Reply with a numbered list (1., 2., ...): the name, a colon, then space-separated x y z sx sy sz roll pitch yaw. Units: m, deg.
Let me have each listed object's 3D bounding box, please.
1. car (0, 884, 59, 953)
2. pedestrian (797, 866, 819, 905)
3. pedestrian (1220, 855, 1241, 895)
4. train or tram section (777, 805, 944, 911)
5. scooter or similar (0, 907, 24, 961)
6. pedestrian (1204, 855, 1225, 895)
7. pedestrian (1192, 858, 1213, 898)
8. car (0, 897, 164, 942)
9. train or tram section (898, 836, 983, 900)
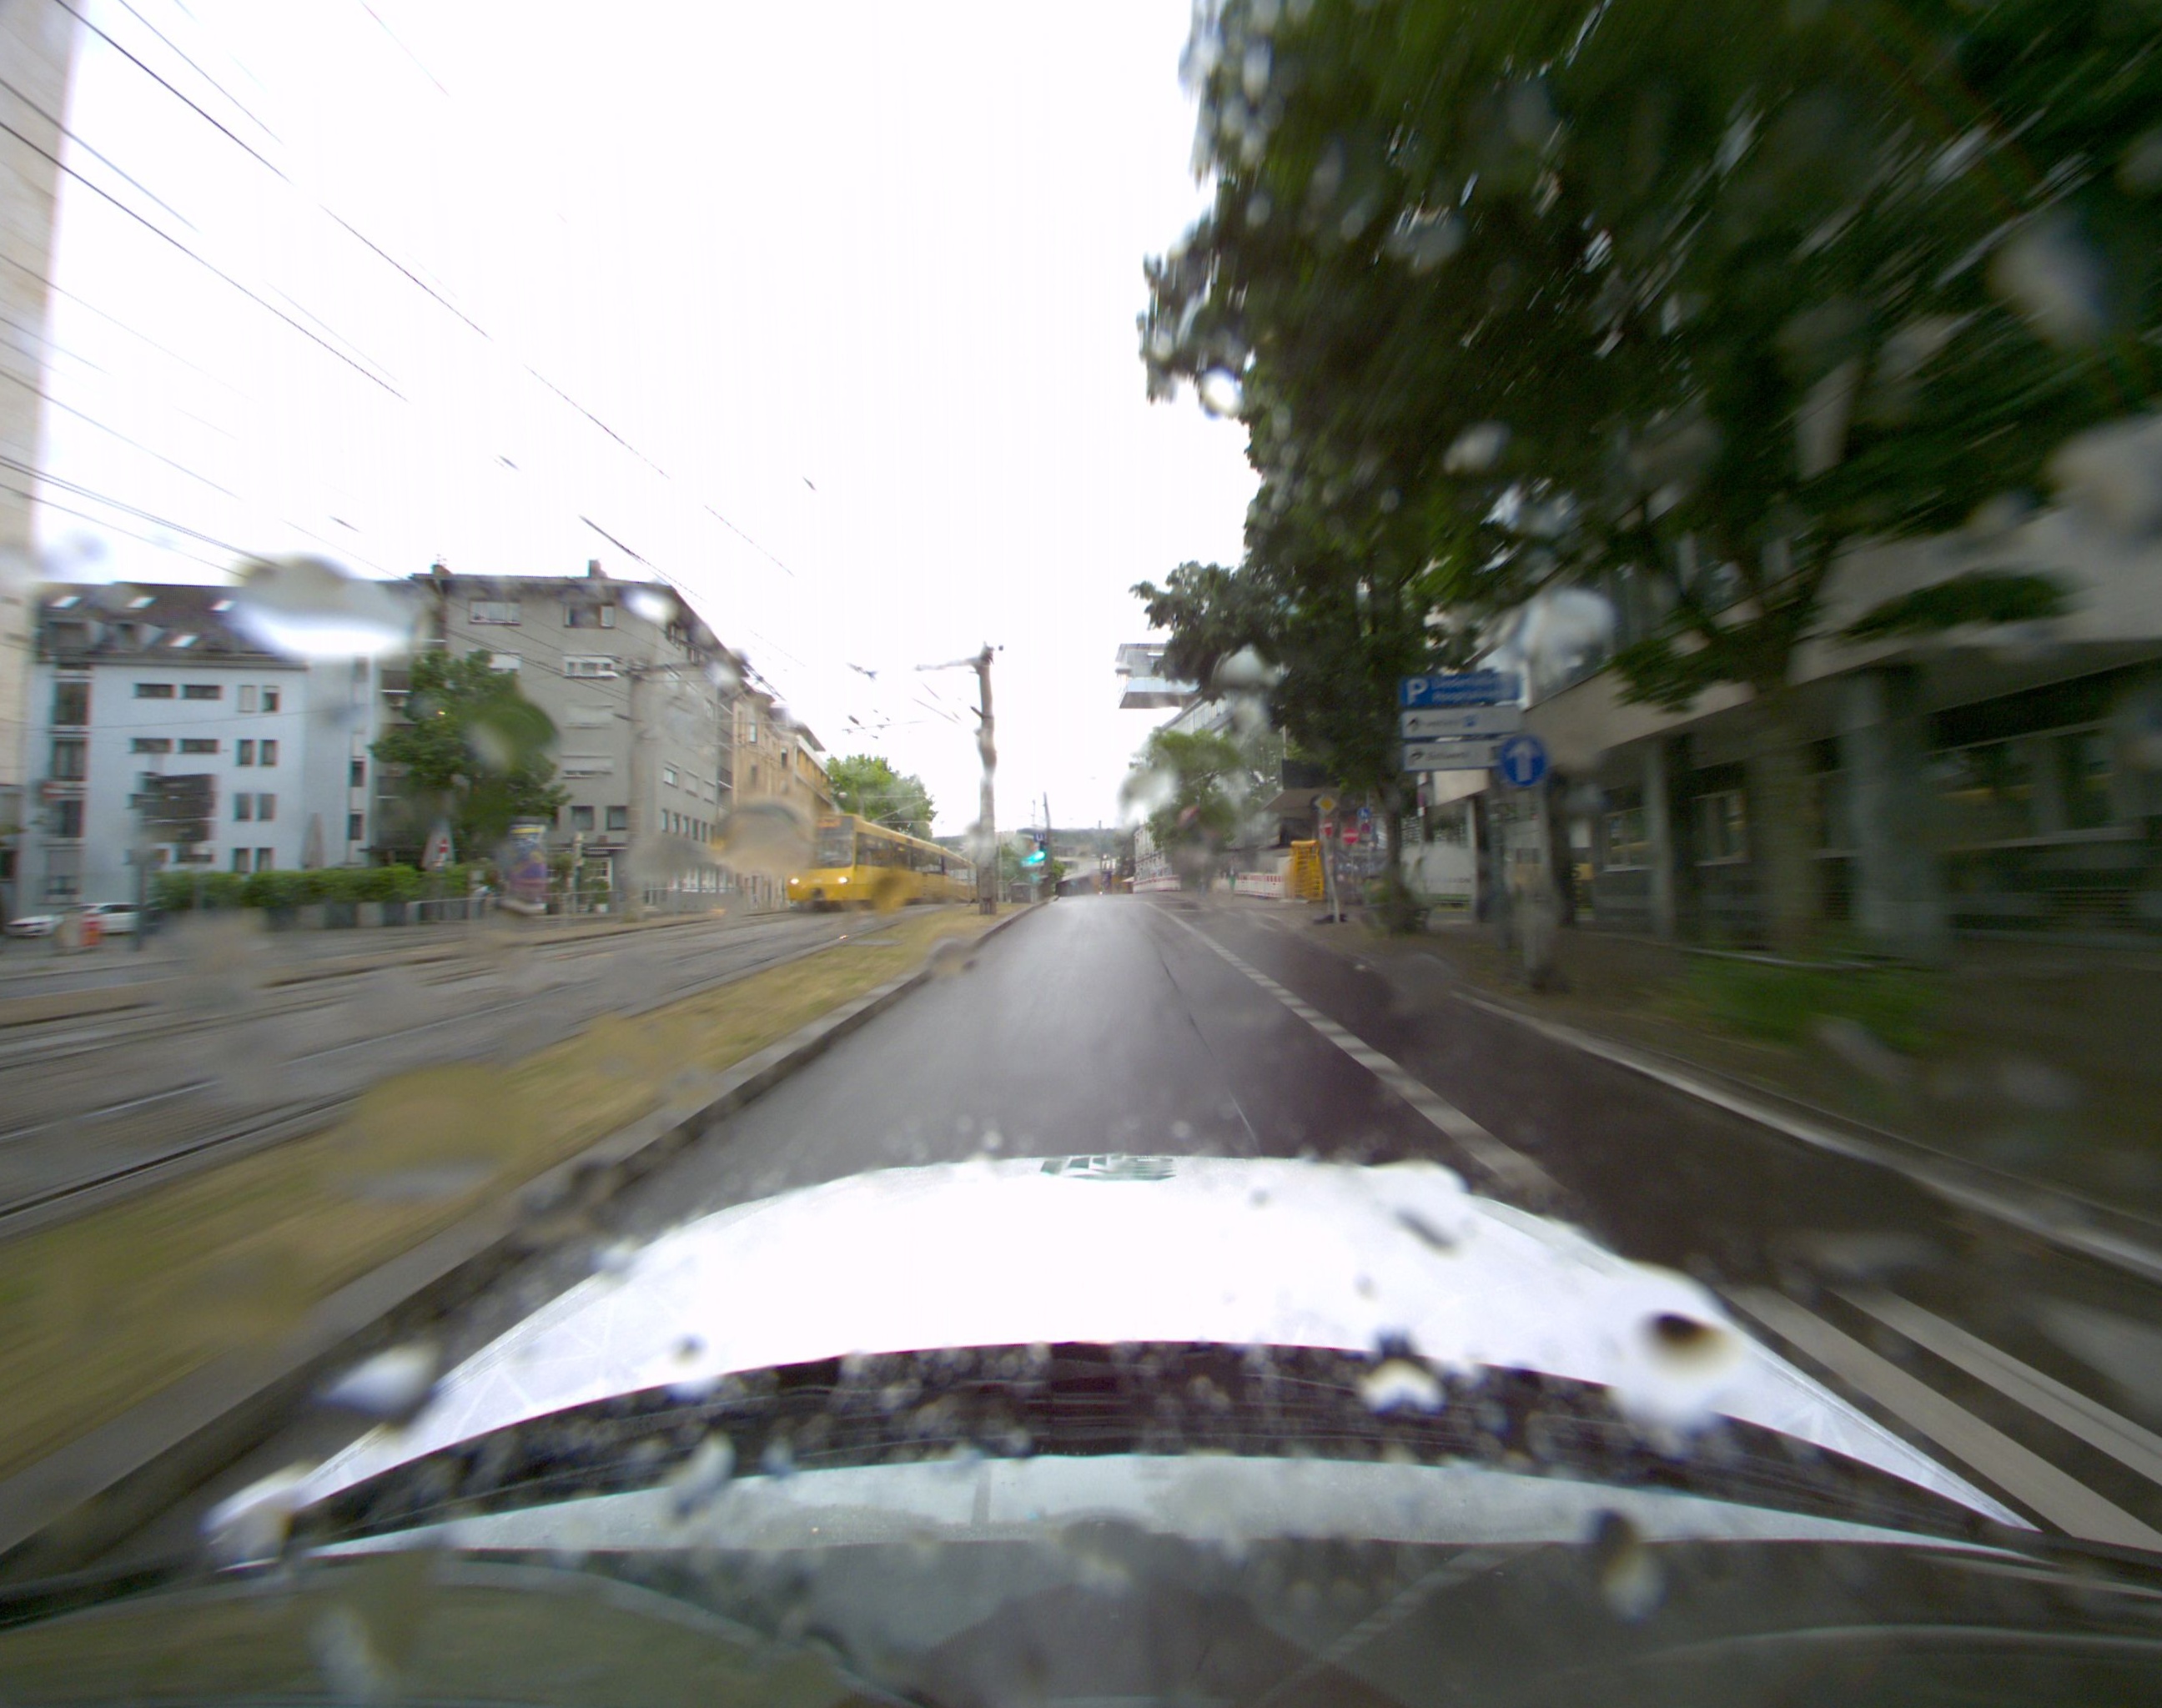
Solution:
1. car: -30.025 1.750 21.523 2.006 1.829 5.183 0 -1 -30
2. pedestrian: -12.821 1.473 38.228 0.730 1.790 0.696 -2 -1 0
3. pedestrian: 6.891 0.972 37.462 0.698 1.785 1.066 -1 -1 -2
4. train or tram section: -9.370 0.481 38.185 2.737 3.697 18.962 -1 -2 0
5. scooter or similar: -24.109 1.756 17.566 1.495 1.146 0.560 0 -1 -39
6. pedestrian: 6.134 0.958 37.464 0.698 1.815 0.976 -1 -1 -2
7. pedestrian: 5.423 1.058 36.382 0.735 1.730 1.117 -1 -1 -2
8. car: -40.890 2.646 33.320 1.976 1.508 4.008 -2 -1 7
9. train or tram section: -9.353 1.172 57.144 2.737 3.697 18.962 -1 -2 0
